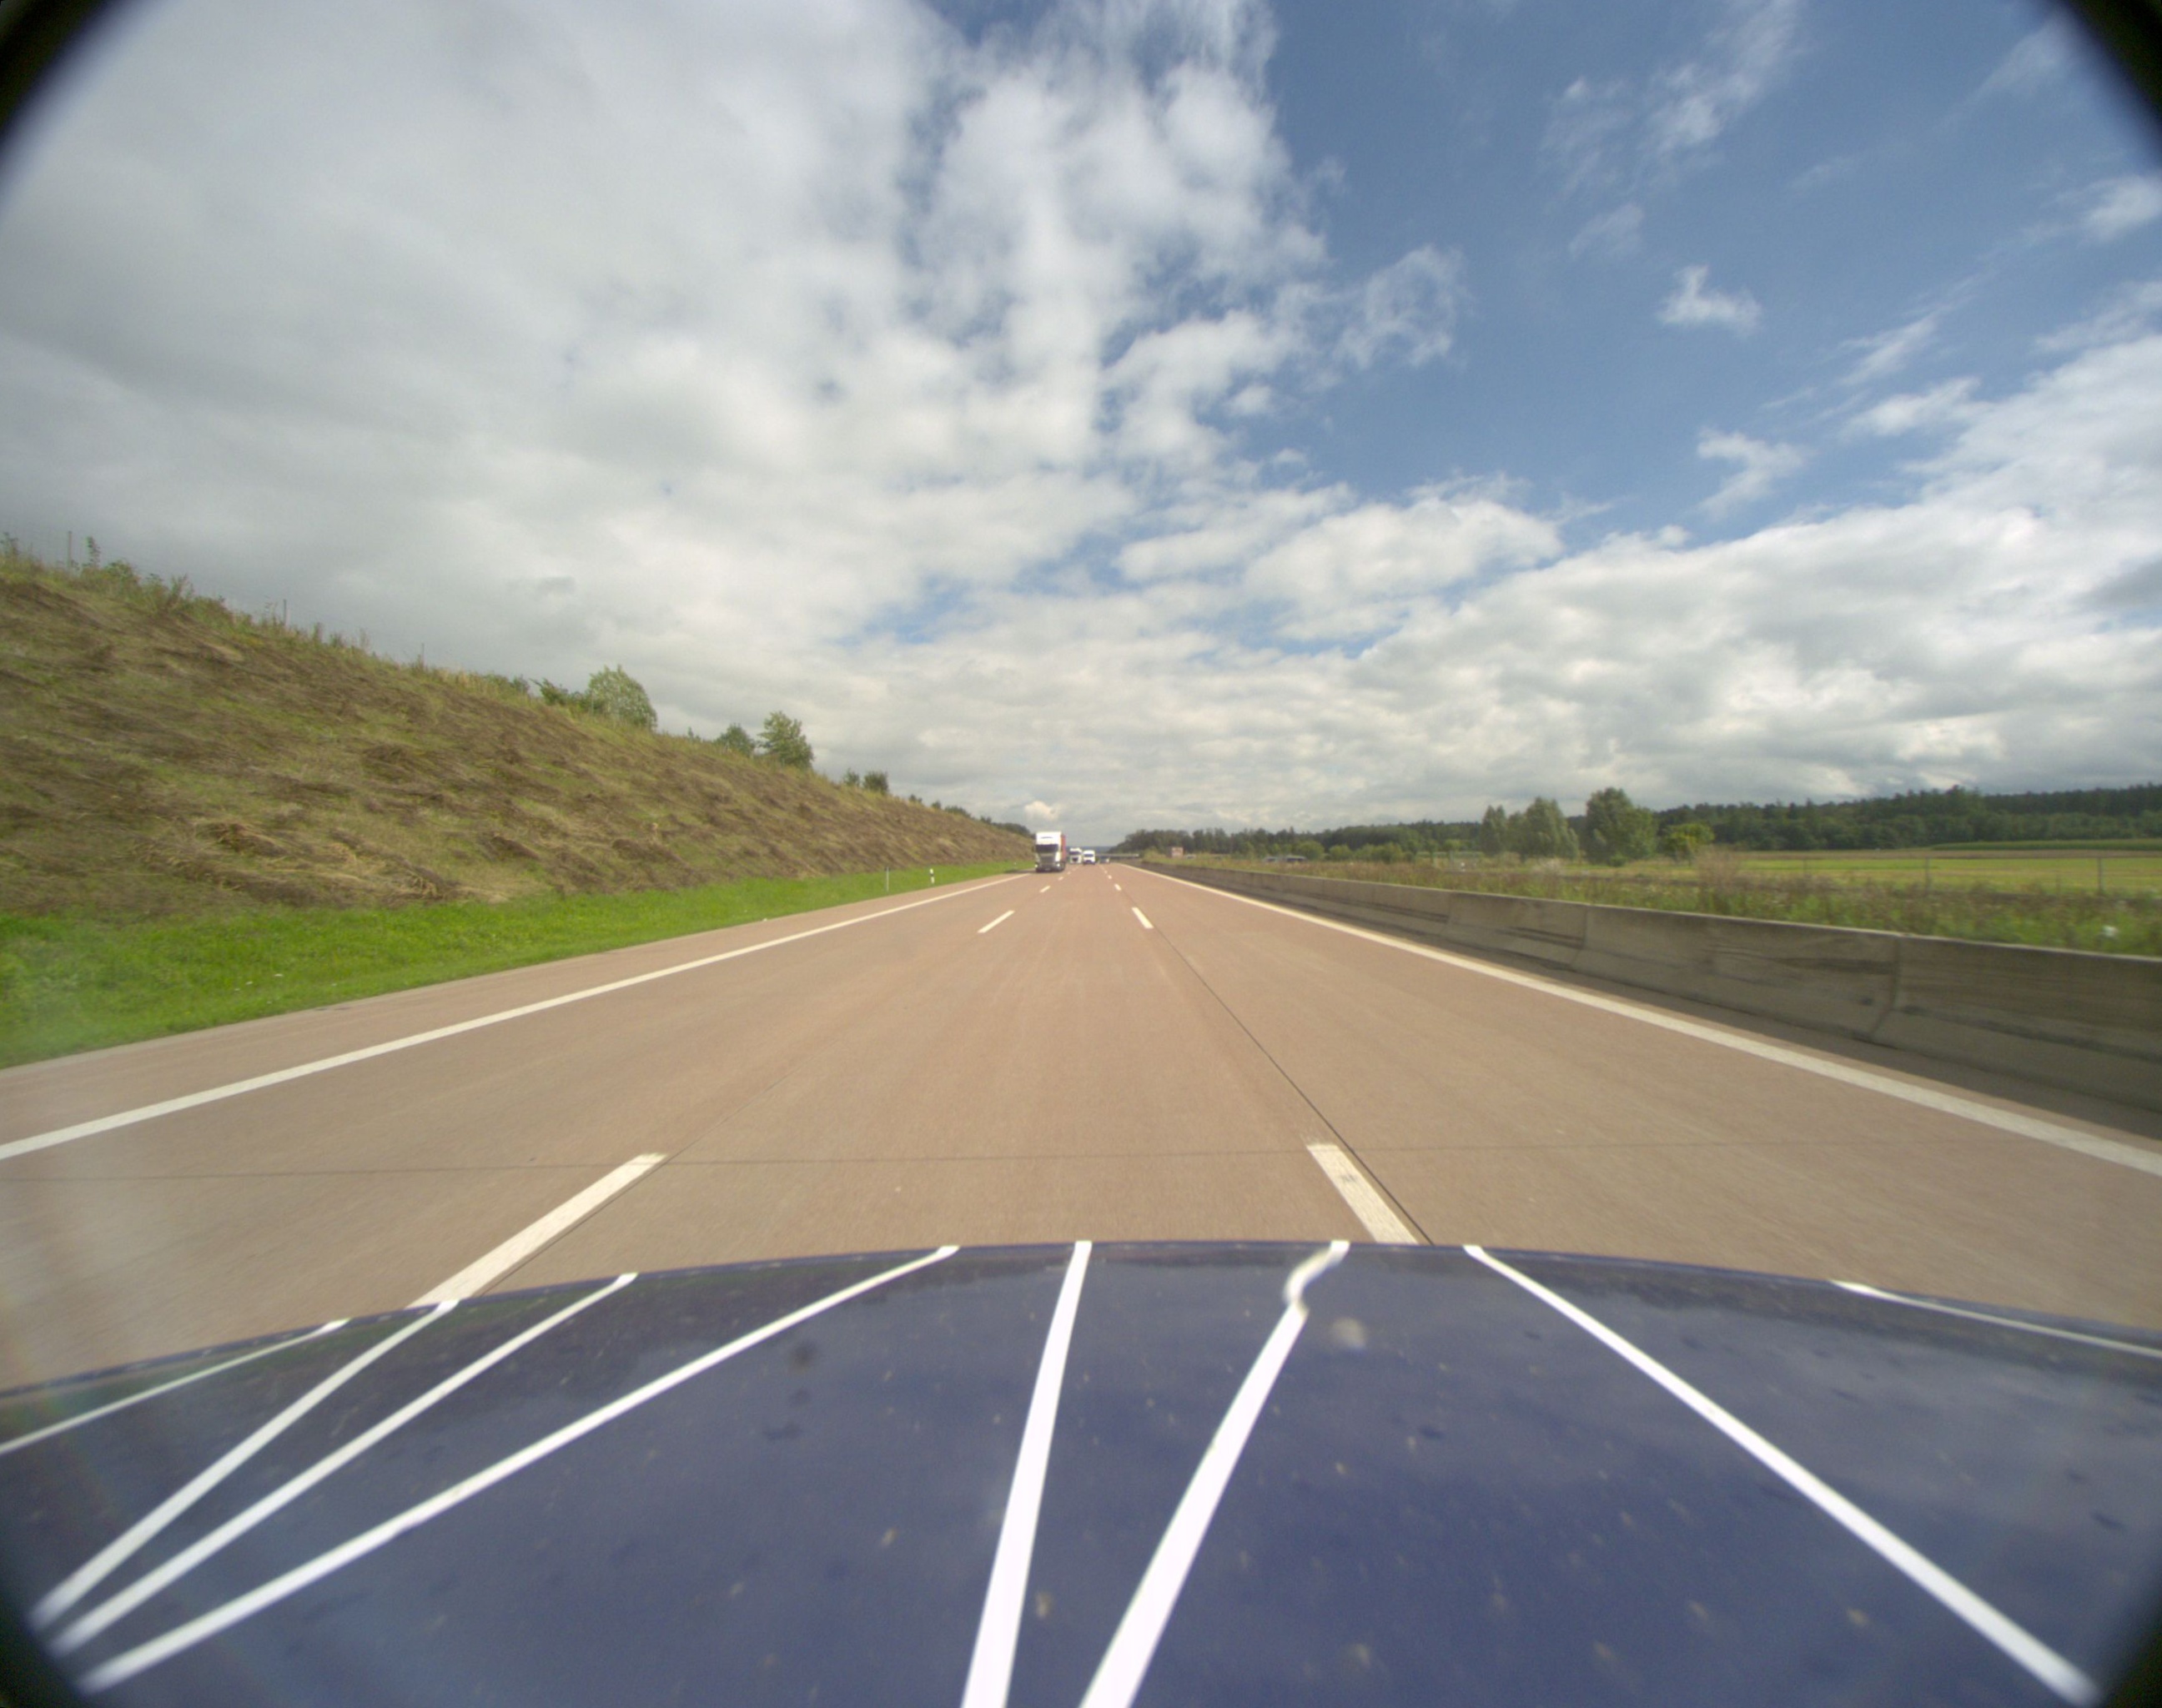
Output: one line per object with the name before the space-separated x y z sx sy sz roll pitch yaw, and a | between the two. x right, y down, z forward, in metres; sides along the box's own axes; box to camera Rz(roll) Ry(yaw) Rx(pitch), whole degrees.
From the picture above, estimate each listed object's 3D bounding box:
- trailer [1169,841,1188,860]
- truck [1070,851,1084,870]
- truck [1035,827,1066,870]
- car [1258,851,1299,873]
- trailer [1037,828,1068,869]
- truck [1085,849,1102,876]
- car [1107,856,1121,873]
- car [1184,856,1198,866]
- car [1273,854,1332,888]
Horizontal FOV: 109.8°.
trailer | 22.937 -0.828 179.241 3.029 4.239 12.095 -2 0 1
truck | -0.907 1.607 186.845 3.107 4.333 11.256 -2 0 1
truck | -3.099 -0.549 77.664 2.681 4.082 6.616 -1 0 1
car | 16.900 0.661 65.332 1.998 1.835 6.102 0 0 1
trailer | -3.010 -0.543 83.603 2.679 4.069 12.789 -1 0 1
truck | 2.158 1.334 129.680 2.681 4.333 11.808 -2 0 1
car | 6.661 2.078 153.703 2.773 3.260 6.393 -2 0 2
car | 22.007 1.339 152.371 2.063 1.835 5.728 0 0 1
car | 12.781 0.953 44.185 1.998 1.835 5.274 0 0 1
